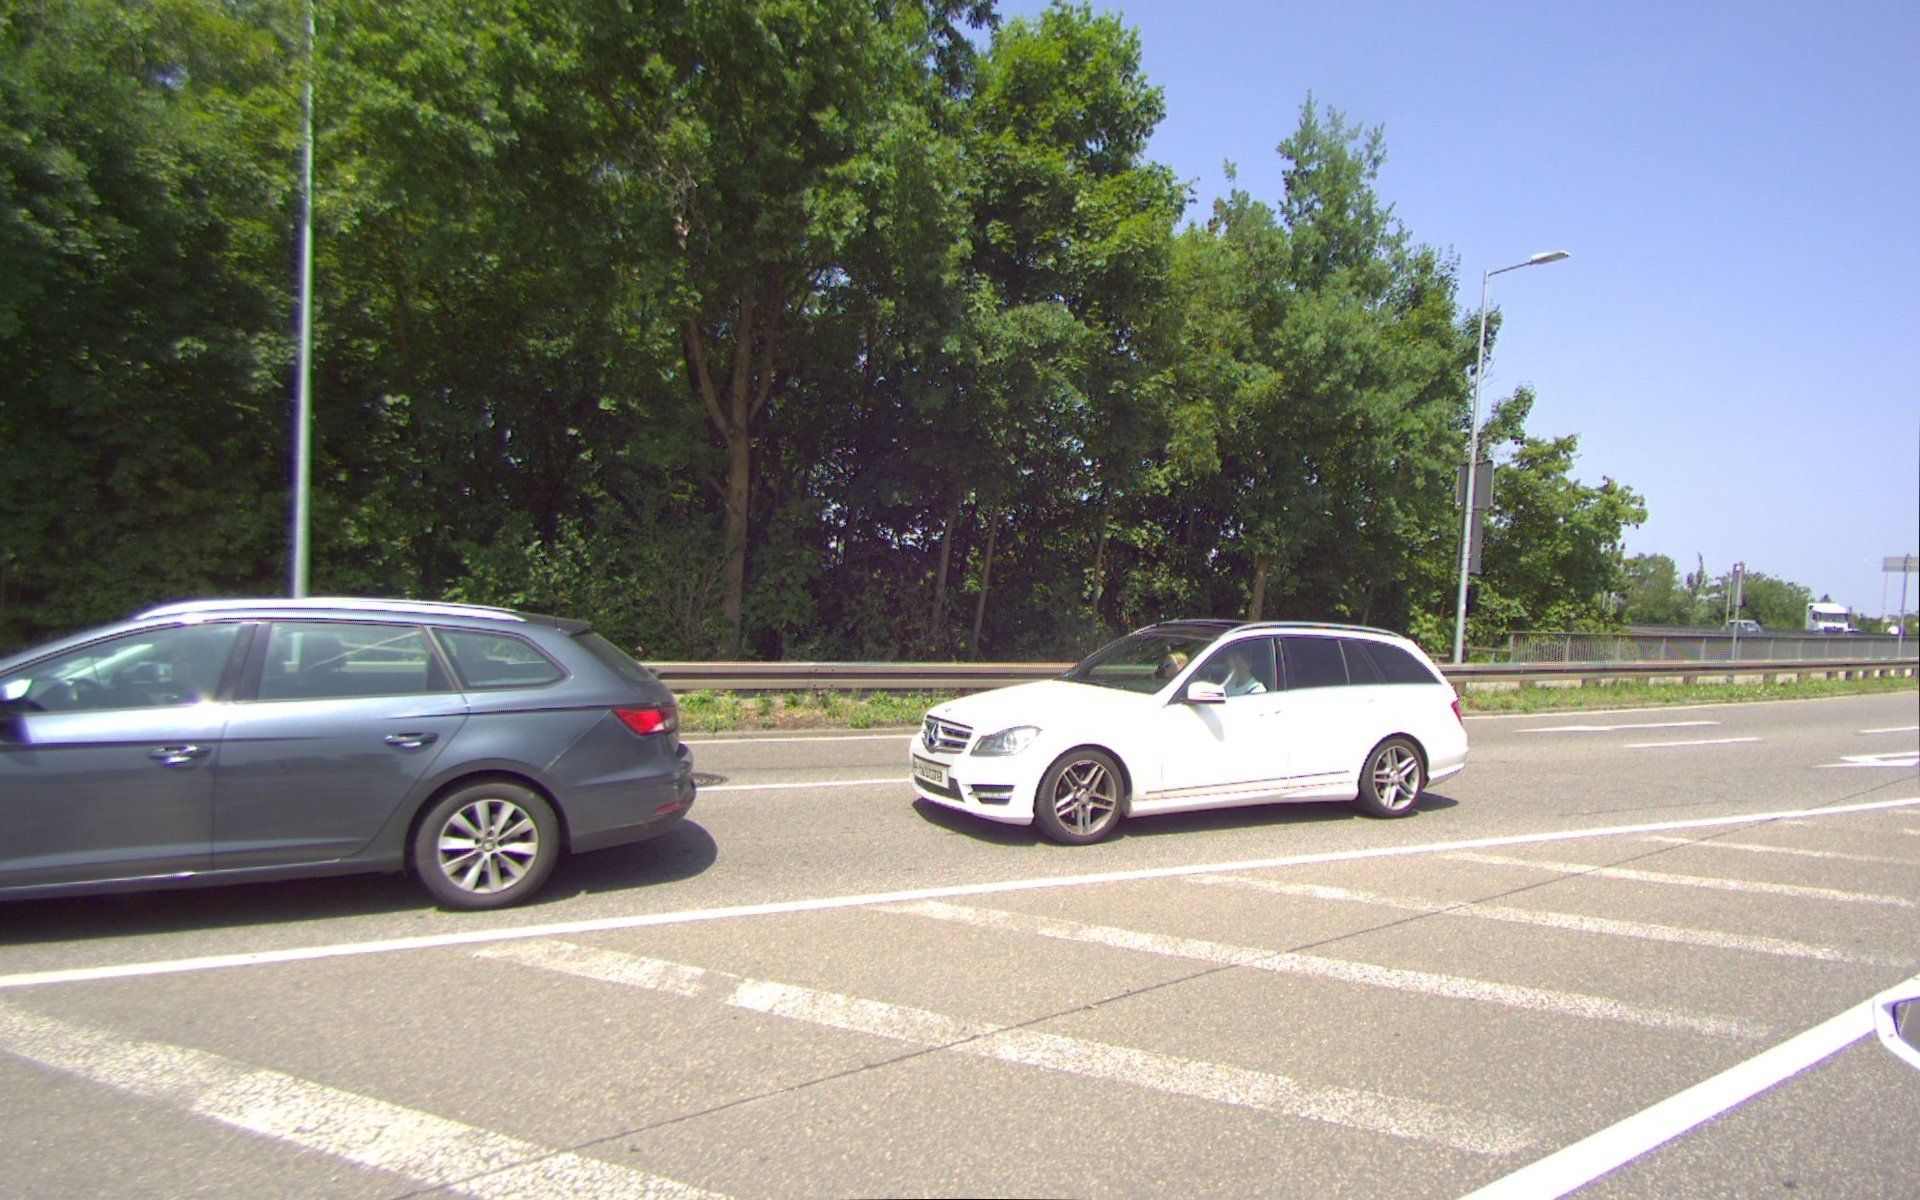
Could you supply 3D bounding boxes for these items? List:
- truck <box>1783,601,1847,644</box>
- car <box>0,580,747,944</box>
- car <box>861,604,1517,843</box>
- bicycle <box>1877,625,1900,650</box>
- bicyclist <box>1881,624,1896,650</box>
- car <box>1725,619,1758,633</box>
[{"bbox_3d":[86.412,2.237,101.656,2.661,4.045,6.186,3,1,19],"label":"truck"},{"bbox_3d":[-3.512,0.661,5.098,4.482,1.425,1.823,2,0,-23],"label":"car"},{"bbox_3d":[1.812,0.821,7.798,4.818,1.425,1.824,2,-1,-23],"label":"car"},{"bbox_3d":[71.759,2.854,77.672,0.687,1.826,2.177,3,1,28],"label":"bicycle"},{"bbox_3d":[71.714,2.864,77.582,0.615,1.911,0.711,3,2,29],"label":"bicyclist"},{"bbox_3d":[89.489,2.976,115.030,1.532,1.404,3.617,3,1,12],"label":"car"}]
